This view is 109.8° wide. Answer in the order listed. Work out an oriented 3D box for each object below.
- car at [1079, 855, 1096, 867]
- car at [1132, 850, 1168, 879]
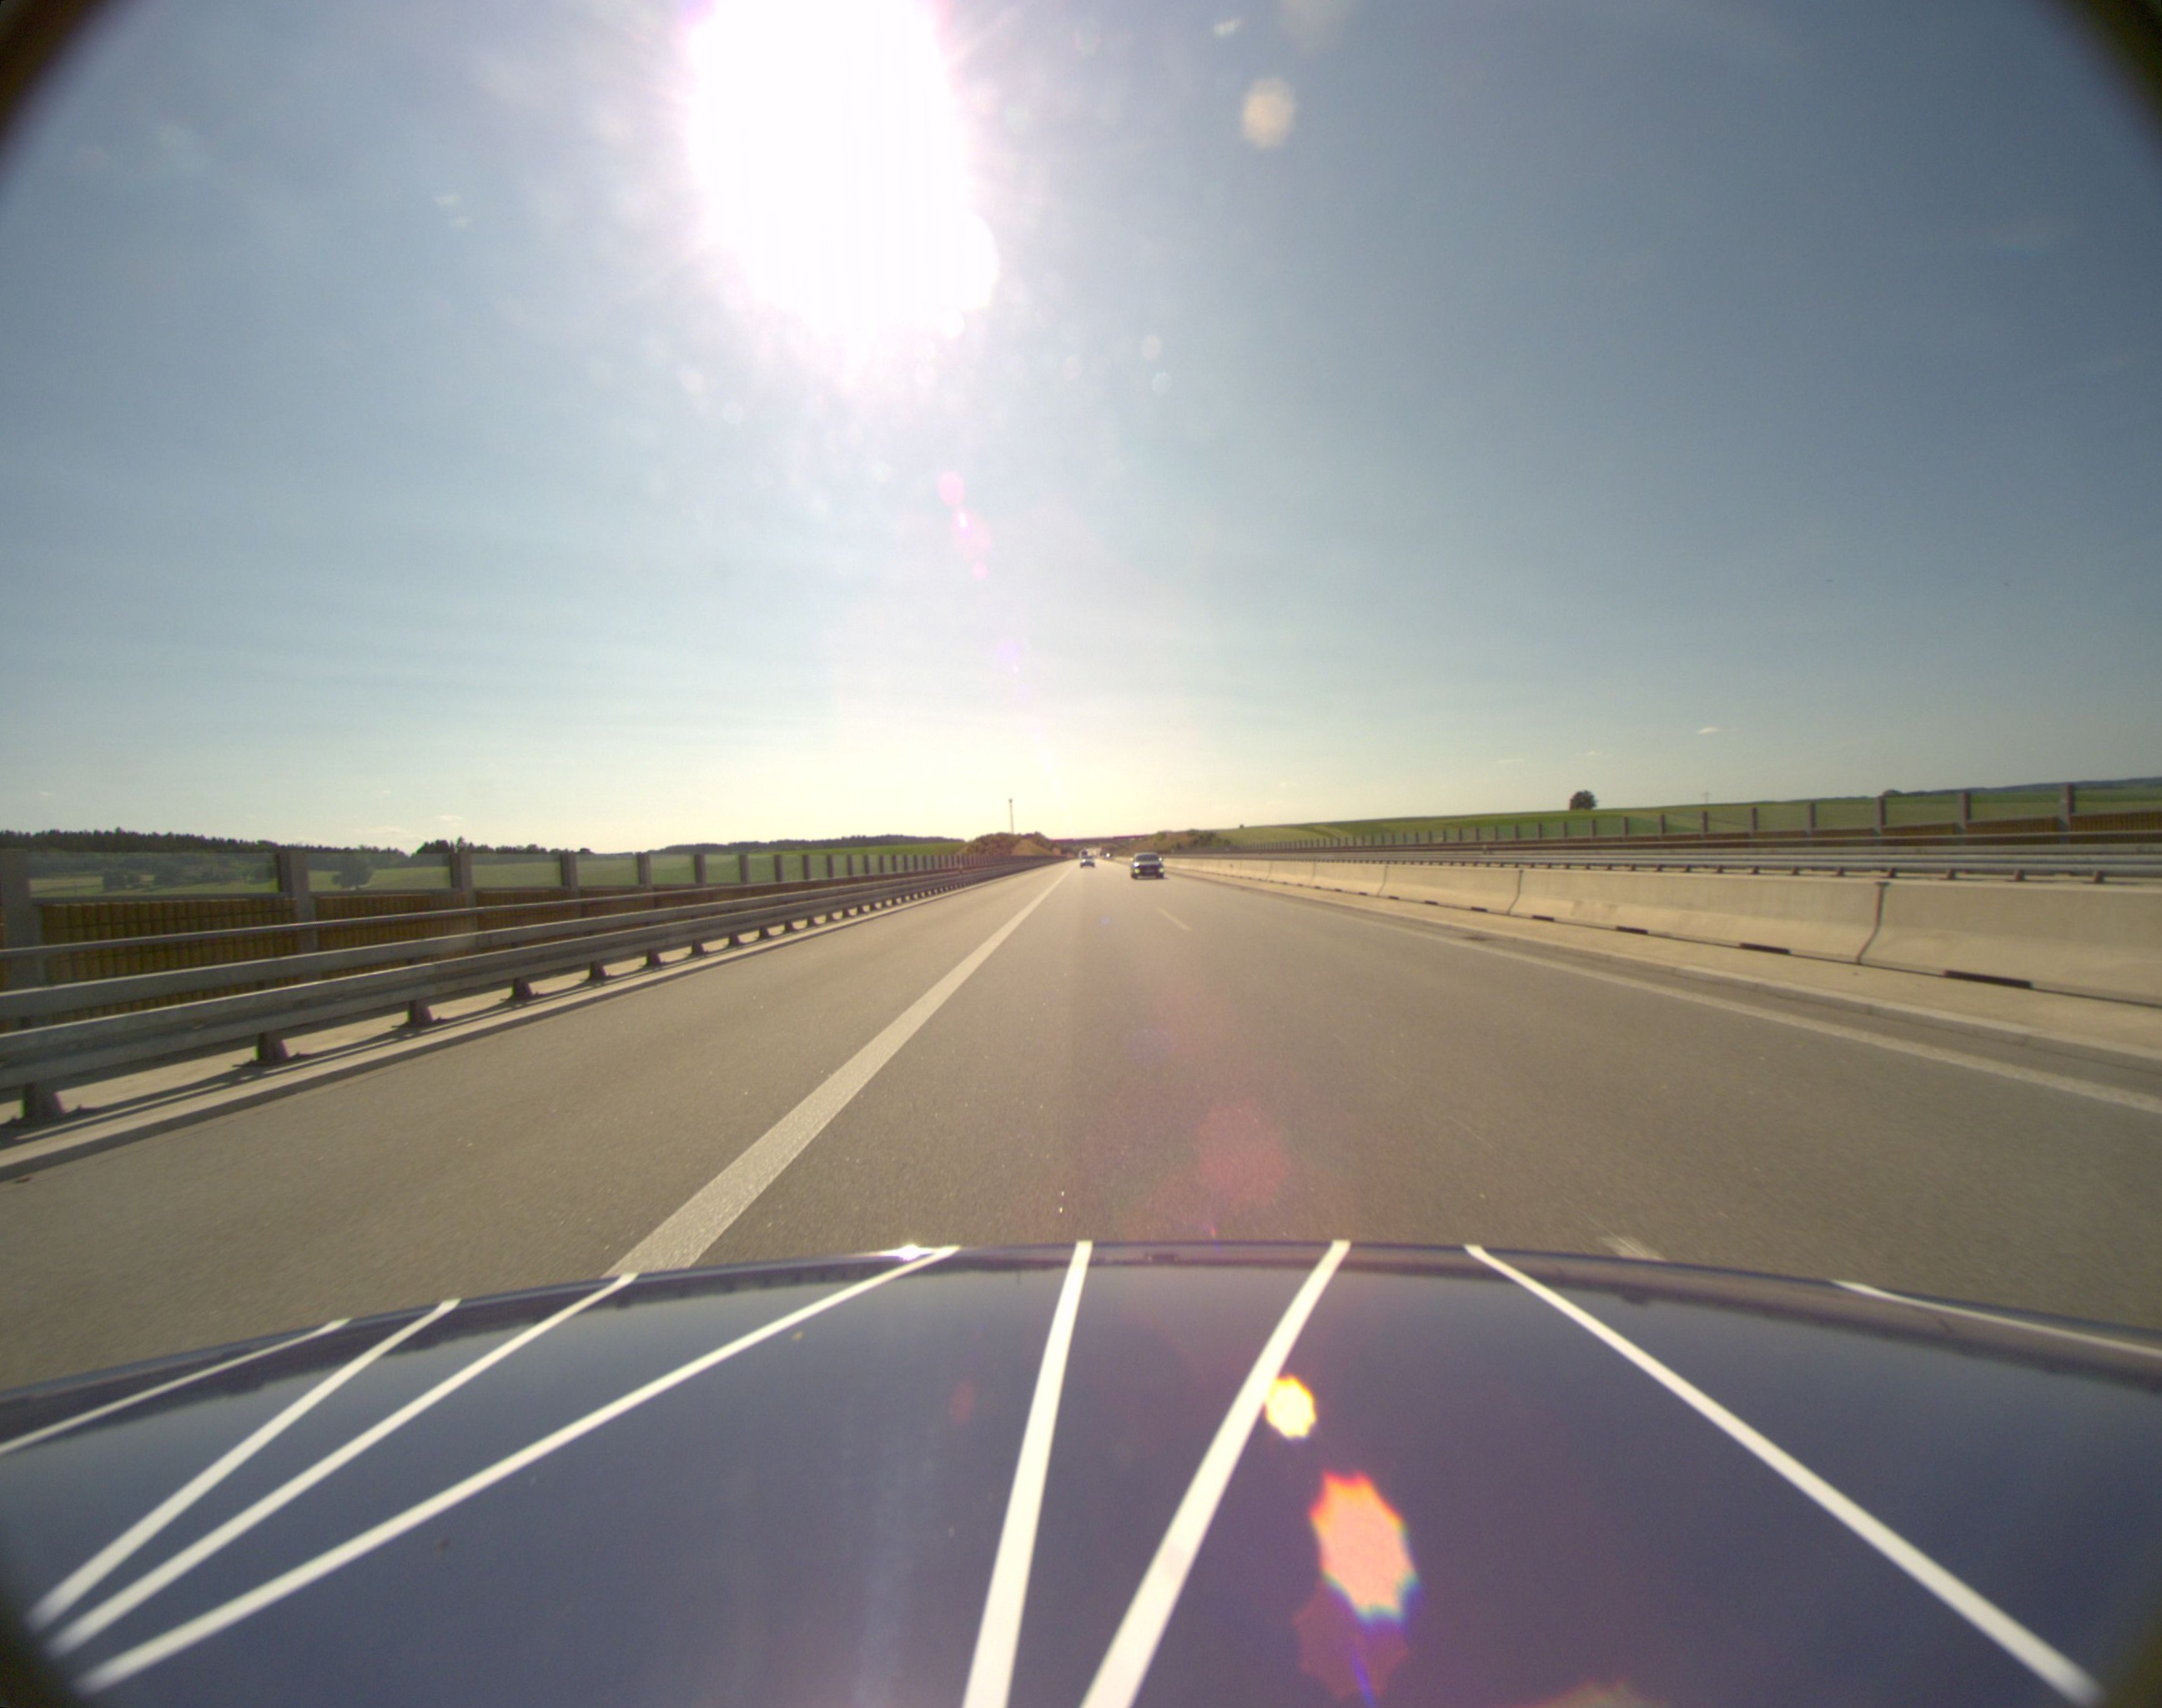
[{"bbox_3d":[0.857,0.869,95.936,1.909,1.449,4.376,-2,0,2],"label":"car"},{"bbox_3d":[4.132,0.596,46.314,1.776,1.560,4.988,-2,0,1],"label":"car"}]
